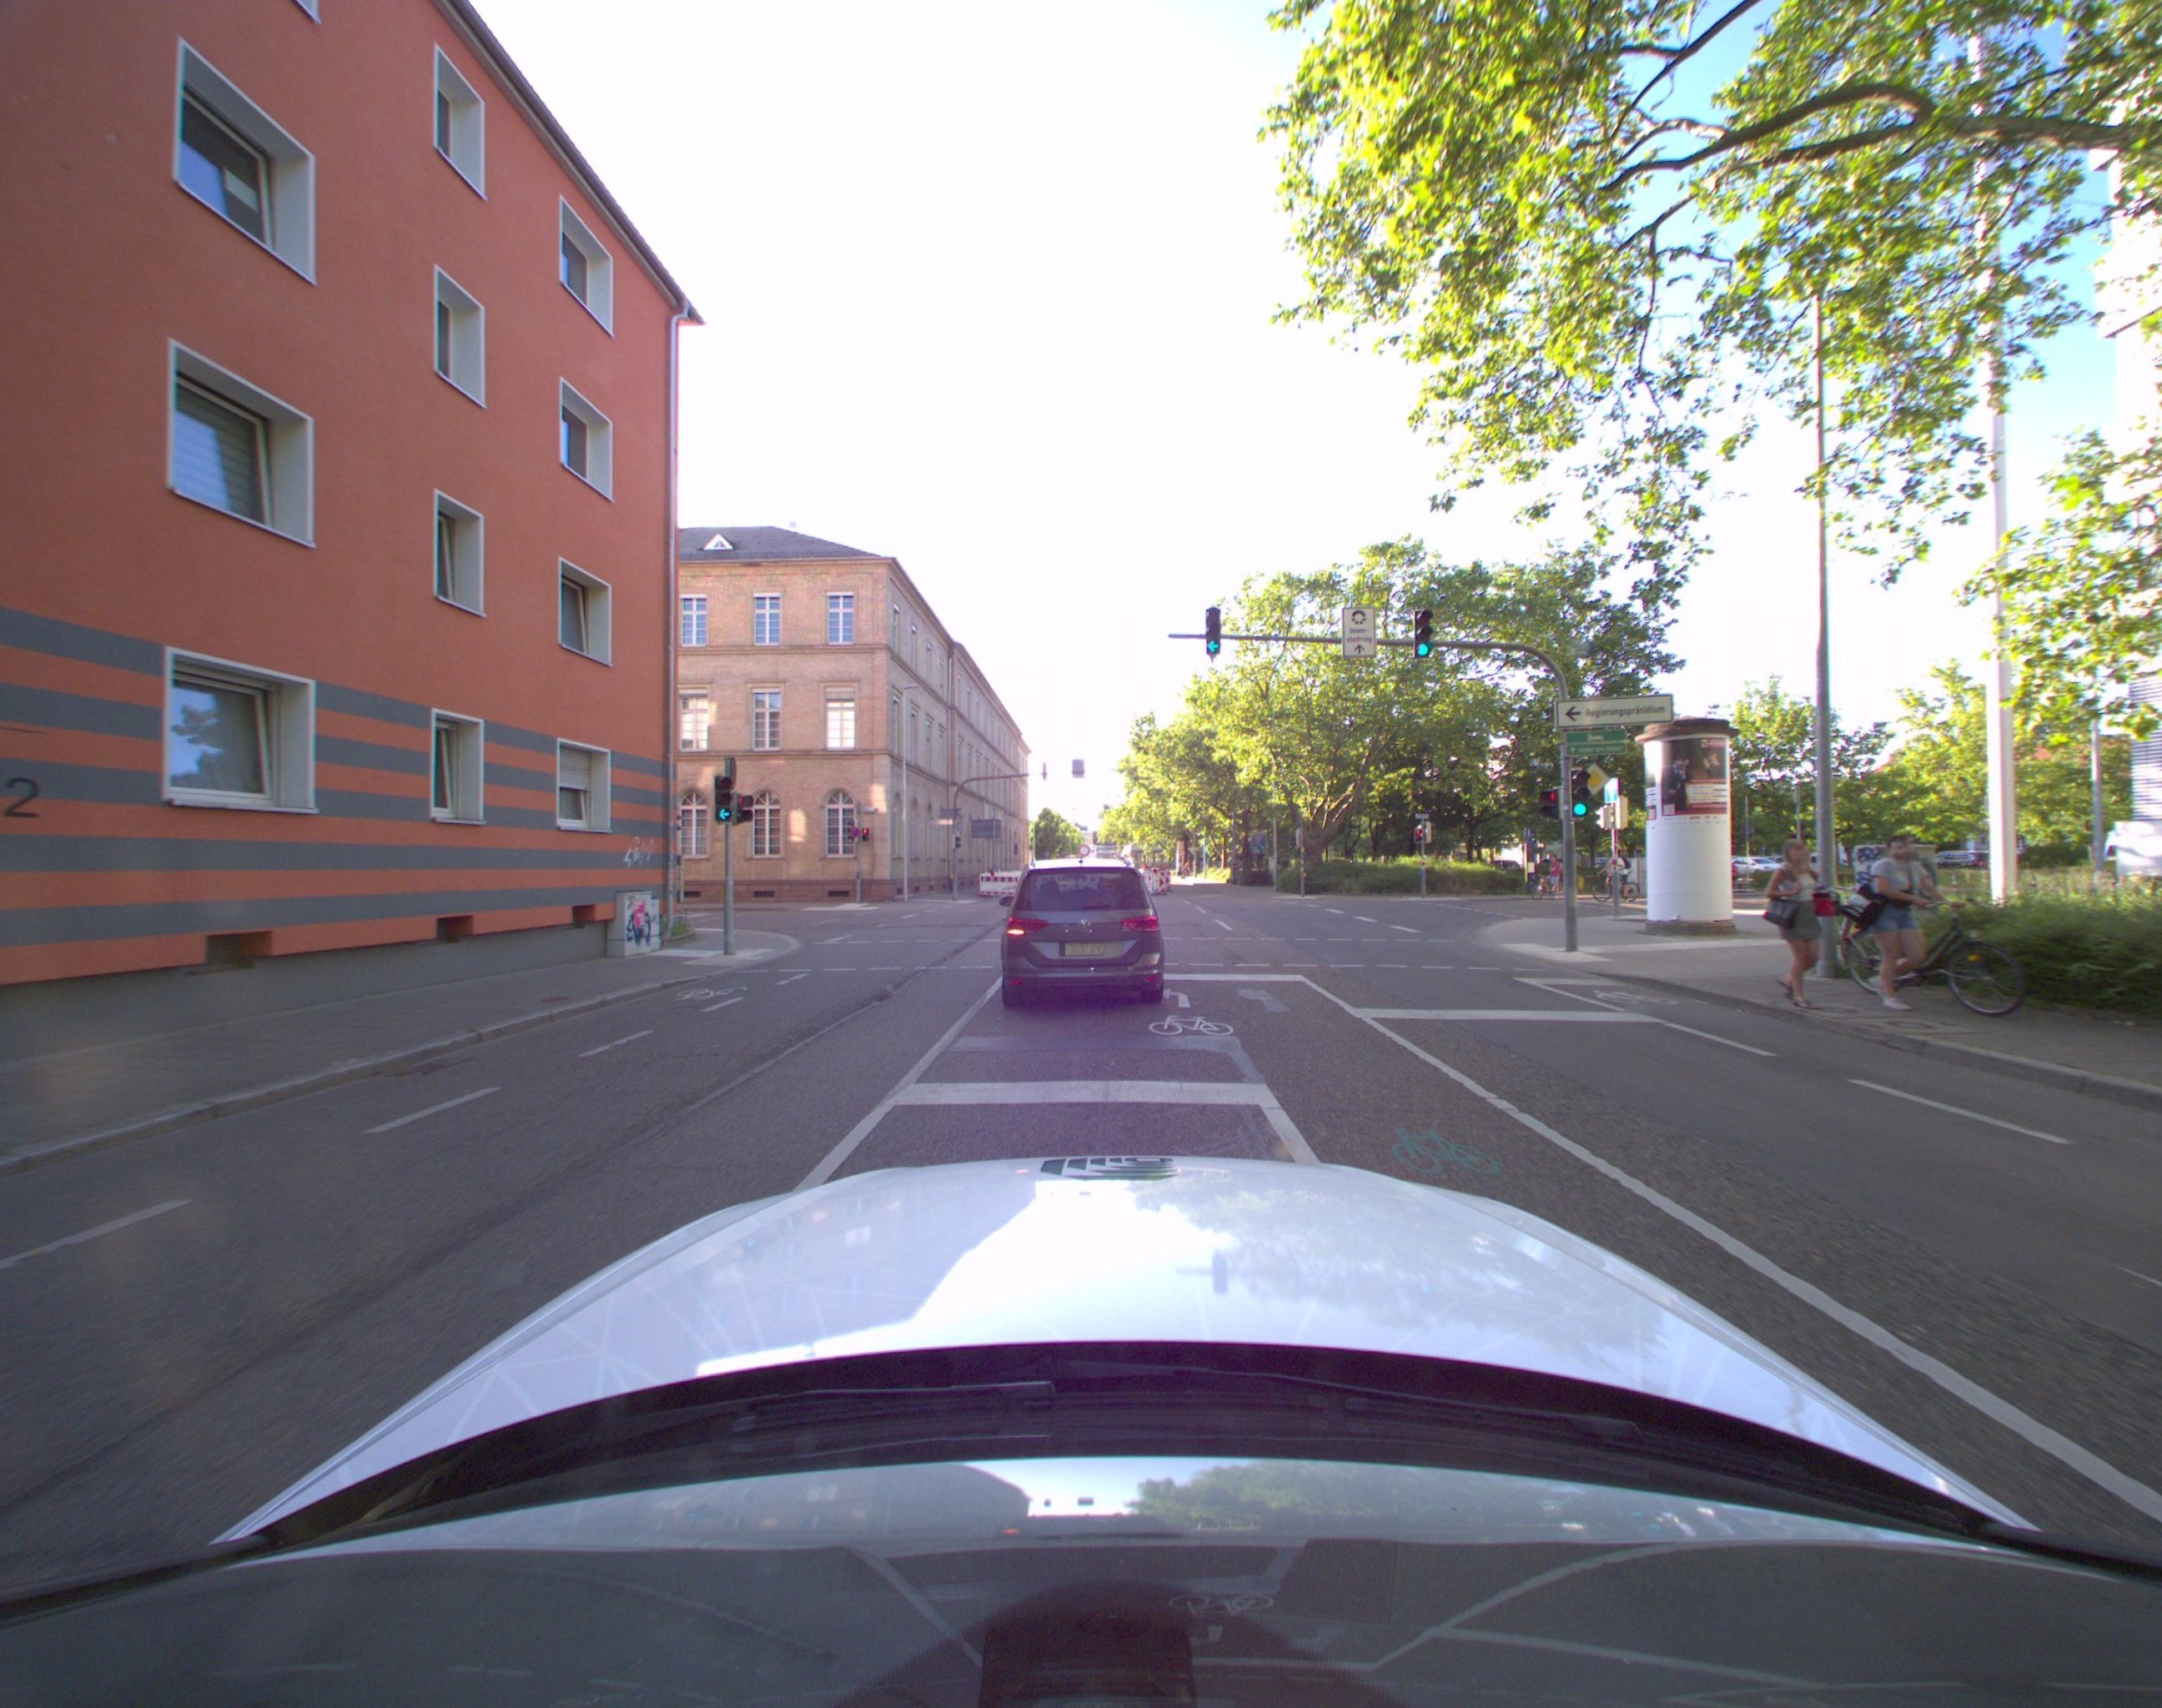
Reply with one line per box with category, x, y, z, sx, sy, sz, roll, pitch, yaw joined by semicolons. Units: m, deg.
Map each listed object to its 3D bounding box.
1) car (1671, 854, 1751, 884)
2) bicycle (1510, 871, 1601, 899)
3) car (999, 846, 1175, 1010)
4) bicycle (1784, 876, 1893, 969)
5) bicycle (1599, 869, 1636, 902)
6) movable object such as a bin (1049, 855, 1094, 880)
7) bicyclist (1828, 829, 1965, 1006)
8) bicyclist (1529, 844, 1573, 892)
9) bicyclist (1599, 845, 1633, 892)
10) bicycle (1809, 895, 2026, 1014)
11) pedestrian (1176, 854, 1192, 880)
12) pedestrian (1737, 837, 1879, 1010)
car;39.678;0.962;51.430;1.986;1.779;4.001;0;-1;2
bicycle;18.208;1.186;31.276;2.988;1.038;0.942;0;-1;-2
car;-0.081;0.751;10.126;1.759;1.607;3.993;0;-1;-4
bicycle;10.533;0.910;11.303;1.998;1.182;0.466;0;-2;-29
bicycle;18.334;1.086;27.876;0.969;1.052;2.676;-3;-3;32
movable object such as a bin;-1.142;1.599;92.970;4.781;2.777;2.488;-2;-2;44
bicyclist;8.271;0.633;8.290;0.630;1.714;0.654;-1;-3;0
bicyclist;18.037;0.553;31.268;1.125;1.808;0.977;0;-1;-1
bicyclist;18.266;0.478;27.812;0.941;1.545;1.133;-1;1;33
bicycle;8.419;0.962;8.308;0.519;1.035;1.647;0;-1;1
pedestrian;10.827;1.361;85.323;1.418;2.667;1.145;0;-1;-7
pedestrian;7.550;0.709;8.499;0.771;1.720;0.692;0;-3;0
